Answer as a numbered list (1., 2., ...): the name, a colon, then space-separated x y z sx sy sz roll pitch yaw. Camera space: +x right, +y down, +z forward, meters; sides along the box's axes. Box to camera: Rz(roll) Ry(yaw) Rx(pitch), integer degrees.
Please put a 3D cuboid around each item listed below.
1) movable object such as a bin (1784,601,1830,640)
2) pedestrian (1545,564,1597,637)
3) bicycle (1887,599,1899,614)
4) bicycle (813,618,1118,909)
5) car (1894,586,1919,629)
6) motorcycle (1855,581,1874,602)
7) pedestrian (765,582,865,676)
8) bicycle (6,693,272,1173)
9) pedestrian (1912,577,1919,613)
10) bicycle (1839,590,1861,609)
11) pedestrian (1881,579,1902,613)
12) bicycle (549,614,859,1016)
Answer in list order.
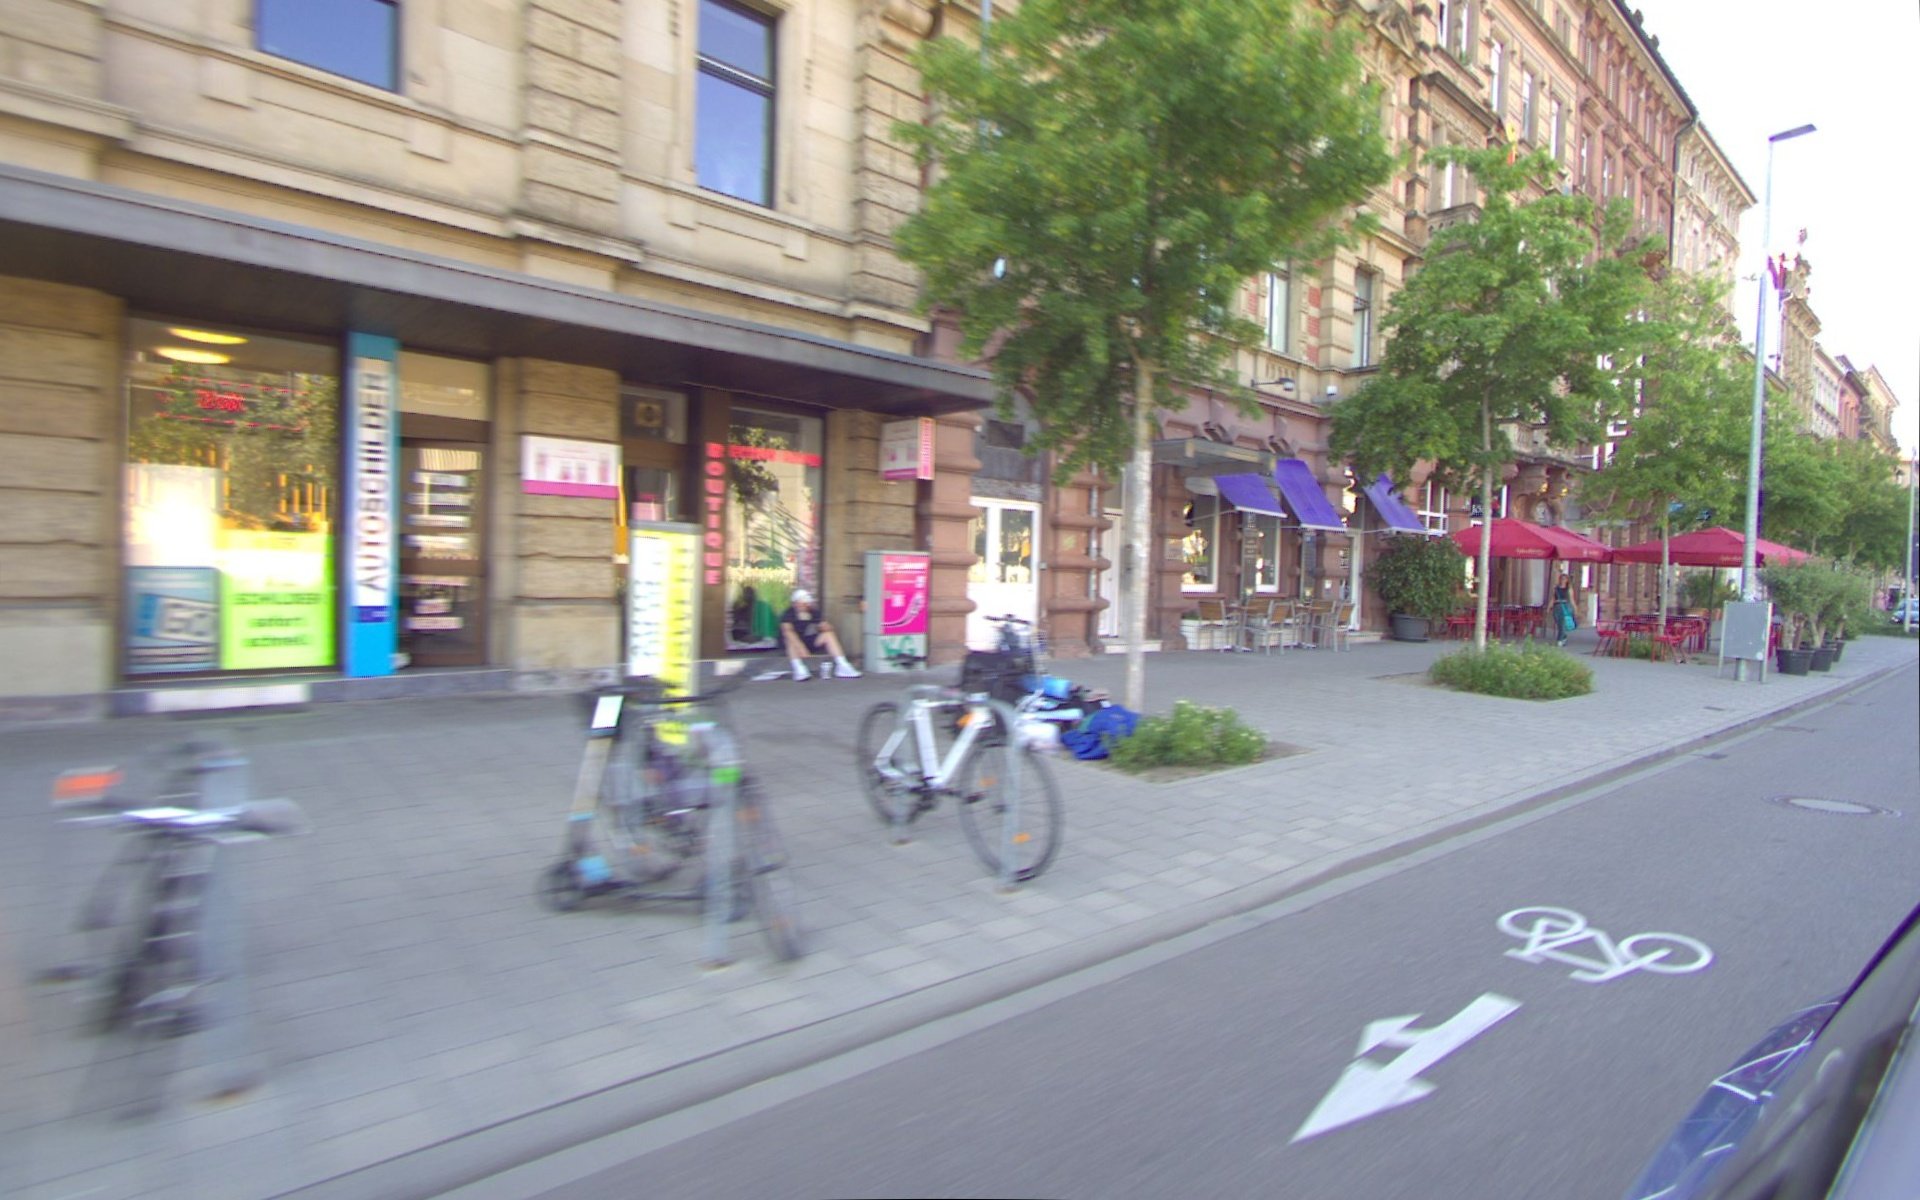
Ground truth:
1. movable object such as a bin: 22.048 0.535 26.344 0.548 0.935 0.679 0 4 -22
2. pedestrian: 13.593 0.002 22.517 0.783 1.552 0.729 0 4 -42
3. bicycle: 43.293 0.304 46.961 0.985 0.655 0.355 -1 1 -43
4. bicycle: -0.061 0.707 5.149 0.555 1.060 1.812 0 4 -36
5. car: 37.539 0.296 38.983 4.223 1.583 1.852 0 4 -42
6. motorcycle: 63.861 -0.577 71.461 2.018 1.439 0.787 0 2 -43
7. pedestrian: -1.621 0.304 11.315 0.790 0.974 0.815 0 2 -40
8. bicycle: -2.347 0.826 2.973 0.497 0.887 1.279 0 4 -36
9. pedestrian: 48.297 -0.251 50.847 0.495 1.801 0.473 0 1 -23
10. bicycle: 44.641 -0.044 50.739 1.654 0.927 0.655 -1 1 -43
11. pedestrian: 47.756 -0.224 51.883 0.566 1.750 0.482 0 1 2
12. bicycle: -1.137 0.701 4.123 0.555 1.117 1.851 0 4 -36
